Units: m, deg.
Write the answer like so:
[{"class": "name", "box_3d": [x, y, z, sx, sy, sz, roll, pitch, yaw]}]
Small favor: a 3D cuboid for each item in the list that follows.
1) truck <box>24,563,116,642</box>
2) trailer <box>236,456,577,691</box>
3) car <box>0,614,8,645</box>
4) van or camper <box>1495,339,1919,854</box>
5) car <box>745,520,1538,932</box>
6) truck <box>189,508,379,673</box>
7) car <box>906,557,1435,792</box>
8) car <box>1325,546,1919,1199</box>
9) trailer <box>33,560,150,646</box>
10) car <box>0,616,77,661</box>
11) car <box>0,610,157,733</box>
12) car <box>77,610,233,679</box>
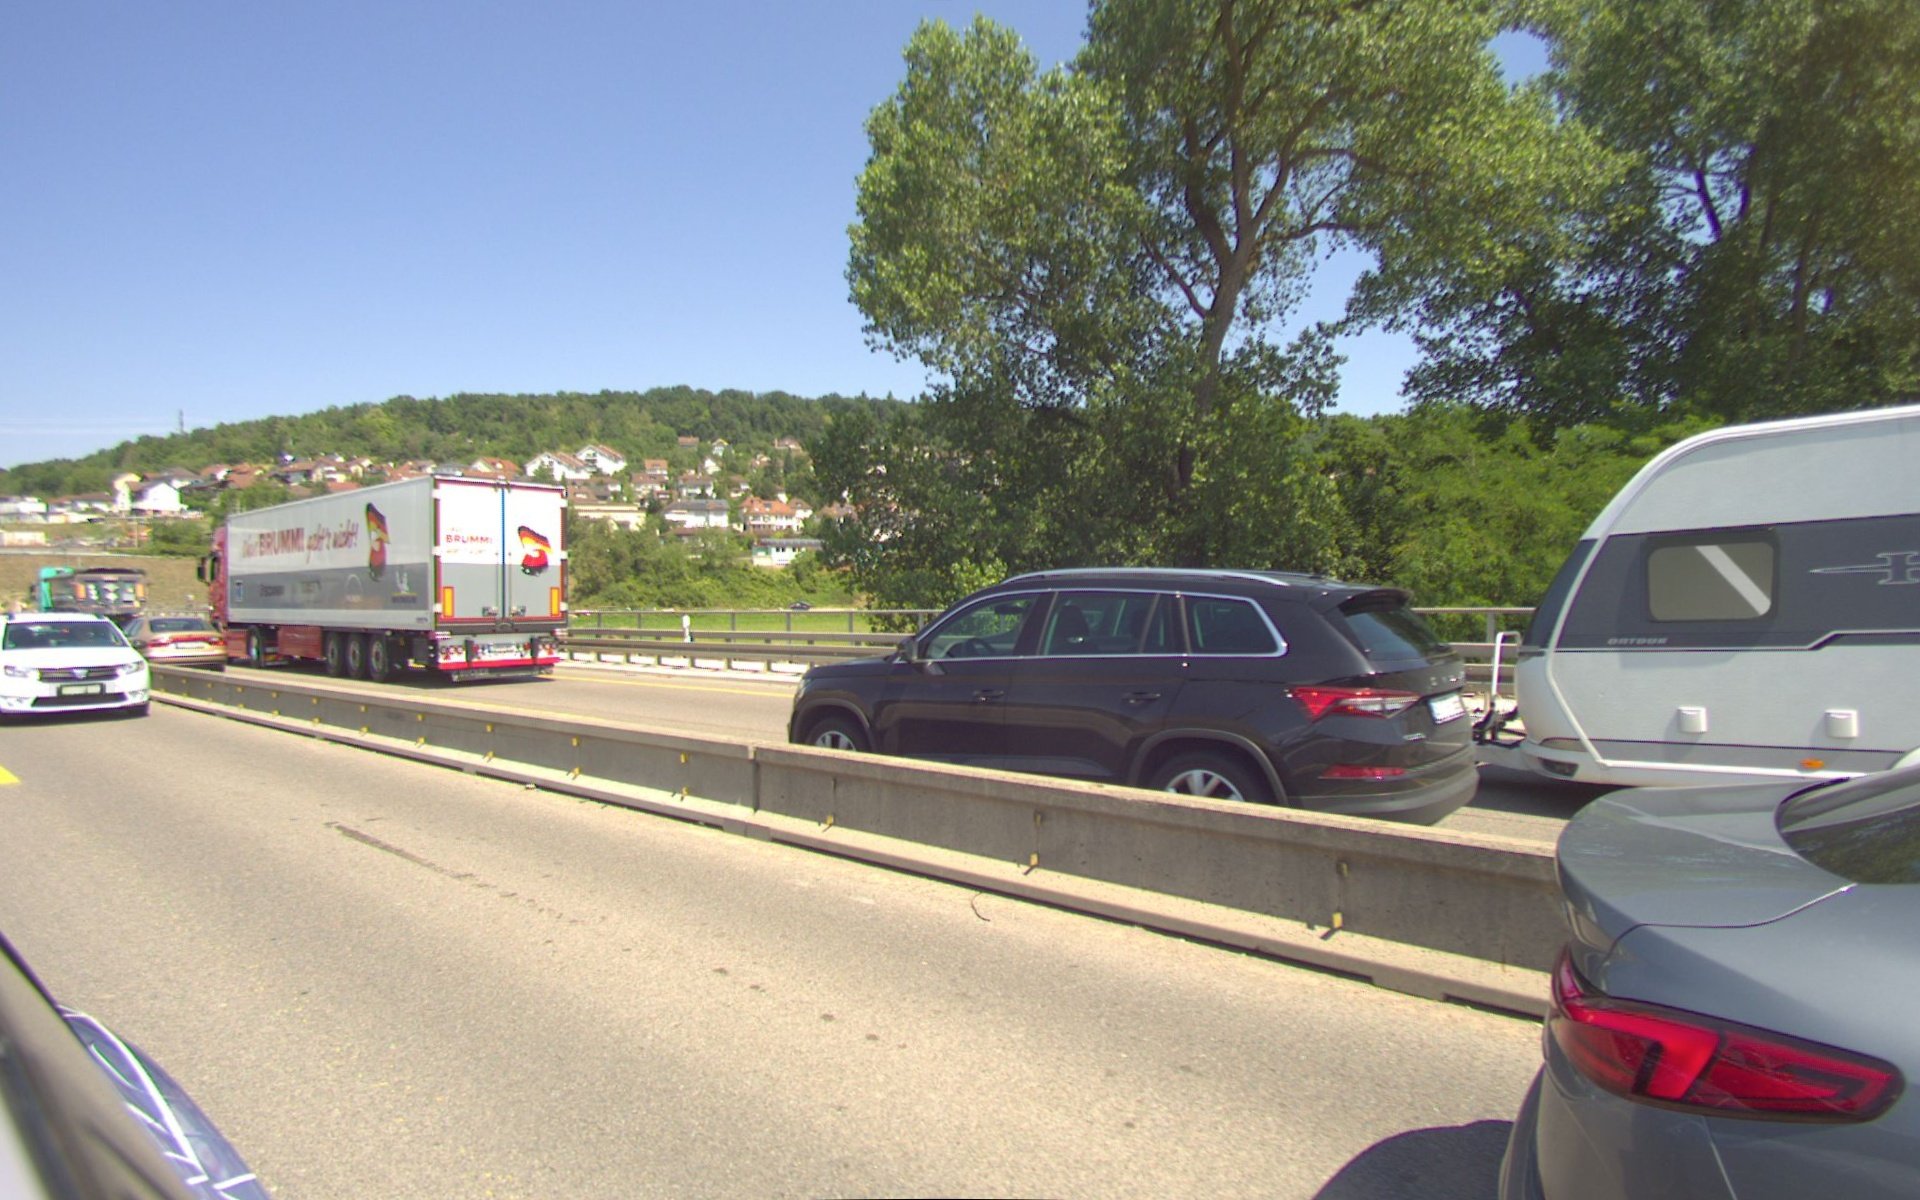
[{"class": "truck", "box_3d": [-44.817, 0.130, 50.917, 5.370, 3.750, 2.768, 0, 0, 40]}, {"class": "trailer", "box_3d": [-13.054, -0.361, 23.008, 11.790, 4.208, 2.778, -2, -1, 41]}, {"class": "car", "box_3d": [-45.454, 1.368, 46.825, 4.712, 1.390, 1.761, -1, -2, 43]}, {"class": "van or camper", "box_3d": [6.331, -0.035, 5.868, 5.242, 2.719, 2.477, -1, -1, 42]}, {"class": "car", "box_3d": [0.830, 0.524, 6.381, 4.616, 1.700, 1.829, -1, 1, 41]}, {"class": "truck", "box_3d": [-18.945, -0.189, 28.189, 6.519, 4.068, 2.787, -2, -1, 41]}, {"class": "car", "box_3d": [1.795, 0.596, 9.803, 4.789, 1.747, 1.749, -1, -1, 42]}, {"class": "car", "box_3d": [2.888, 0.646, 0.525, 4.740, 1.463, 1.832, -1, -1, 42]}, {"class": "trailer", "box_3d": [-40.980, 0.161, 47.630, 8.950, 3.700, 2.766, -1, 0, 40]}, {"class": "car", "box_3d": [-34.145, 1.373, 37.190, 4.917, 1.499, 1.870, -1, 1, 41]}, {"class": "car", "box_3d": [-13.631, 0.957, 15.076, 4.704, 1.542, 1.800, -1, 0, 41]}, {"class": "car", "box_3d": [-18.766, 1.021, 23.543, 4.188, 1.472, 1.883, -1, -3, 38]}]
